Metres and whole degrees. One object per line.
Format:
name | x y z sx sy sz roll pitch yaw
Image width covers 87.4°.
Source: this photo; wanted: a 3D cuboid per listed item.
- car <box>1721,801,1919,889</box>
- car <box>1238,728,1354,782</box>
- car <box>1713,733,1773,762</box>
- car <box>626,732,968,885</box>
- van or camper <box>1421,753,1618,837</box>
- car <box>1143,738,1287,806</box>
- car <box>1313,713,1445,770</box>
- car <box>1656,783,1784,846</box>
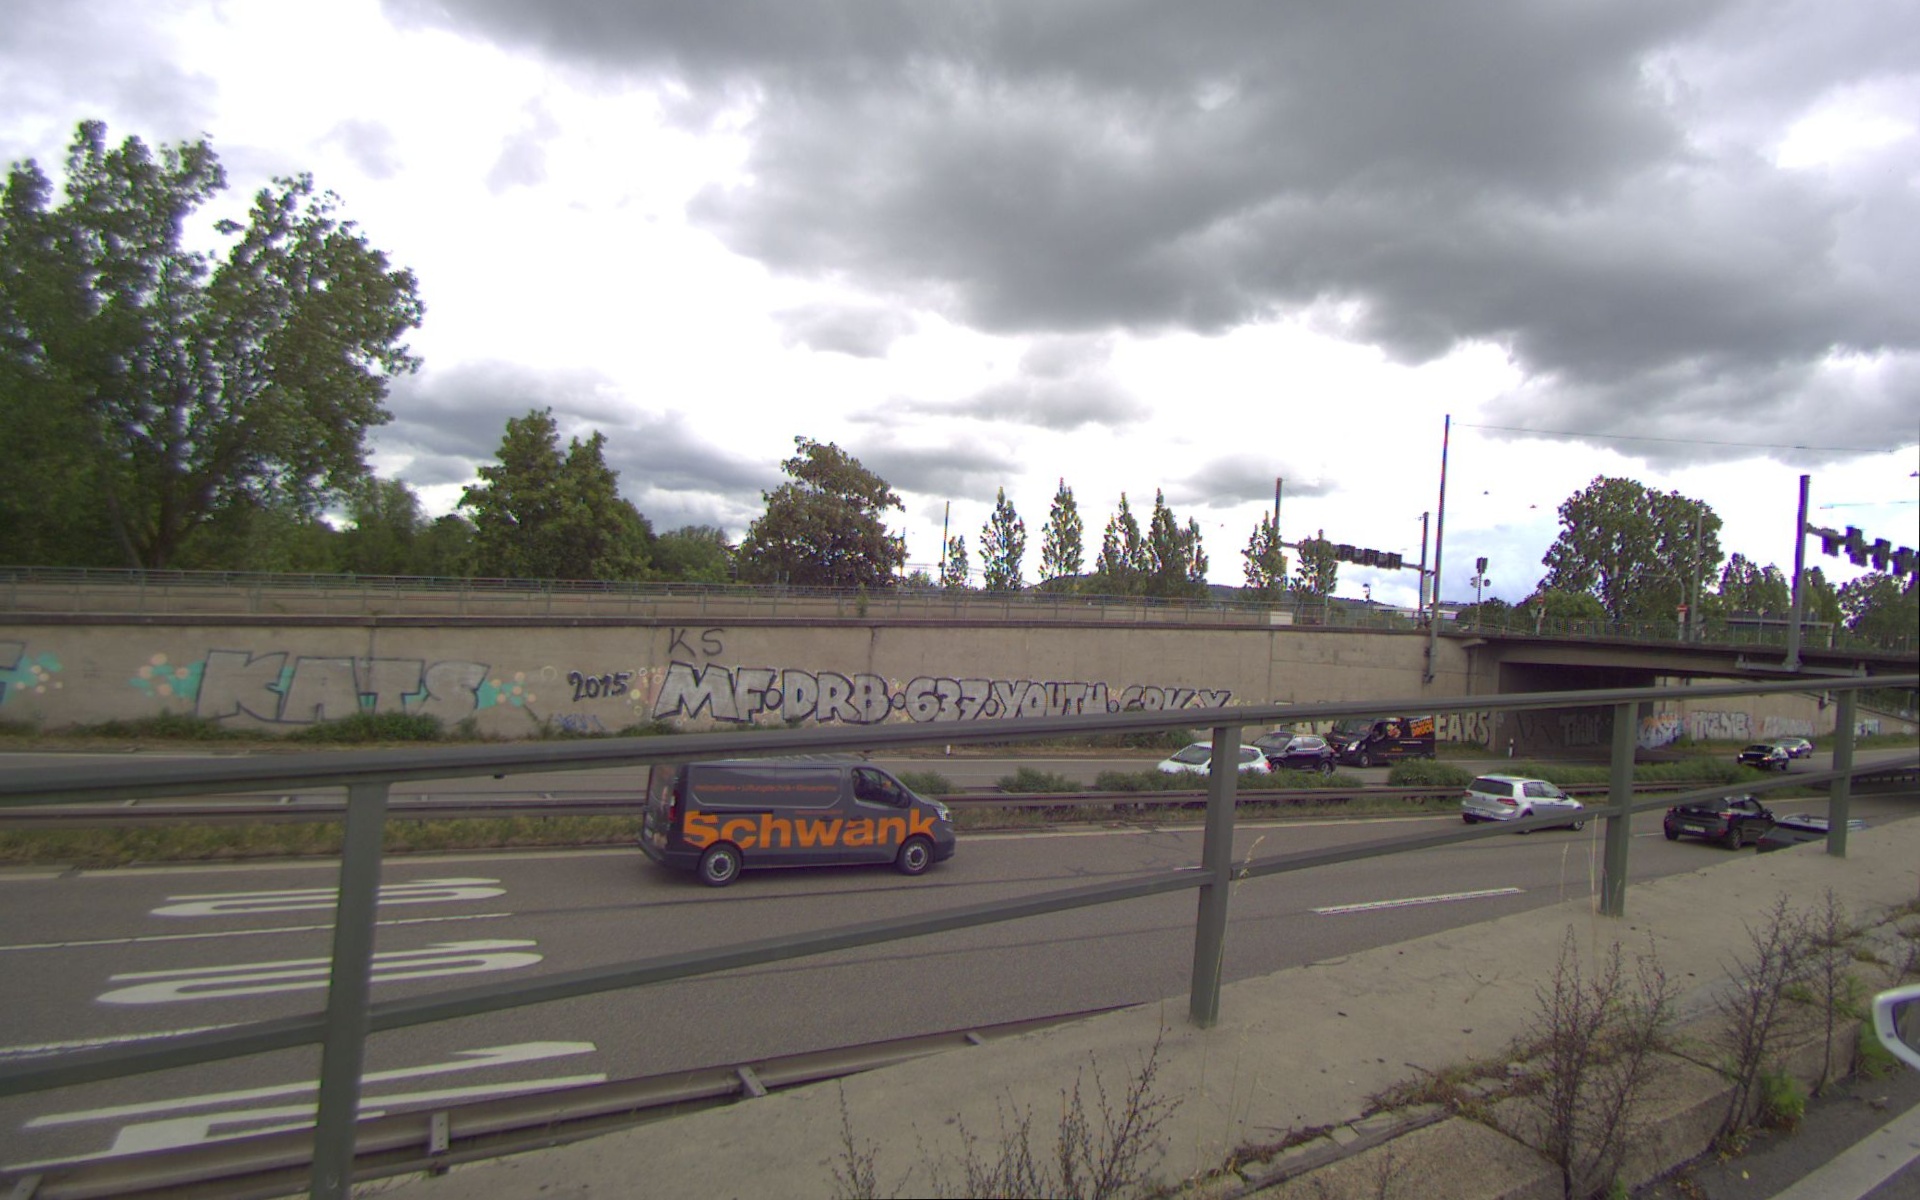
car | 20.069 5.619 23.338 4.242 1.520 1.932 4 -3 -22
car | 12.627 5.811 37.721 3.957 1.683 1.983 6 -2 -31
car | 54.672 10.274 70.137 3.957 1.683 1.983 6 -2 -31
car | -2.708 3.460 17.190 5.280 2.039 2.083 6 -3 -31
van or camper | 15.852 5.428 28.323 6.277 1.893 1.873 6 -2 -31
car | 7.778 5.206 30.624 3.957 1.683 1.983 6 -2 -31
car | 19.046 6.450 45.570 6.114 2.182 2.279 6 -3 -31
car | 21.413 5.981 28.287 3.609 1.344 1.714 6 -3 -33
